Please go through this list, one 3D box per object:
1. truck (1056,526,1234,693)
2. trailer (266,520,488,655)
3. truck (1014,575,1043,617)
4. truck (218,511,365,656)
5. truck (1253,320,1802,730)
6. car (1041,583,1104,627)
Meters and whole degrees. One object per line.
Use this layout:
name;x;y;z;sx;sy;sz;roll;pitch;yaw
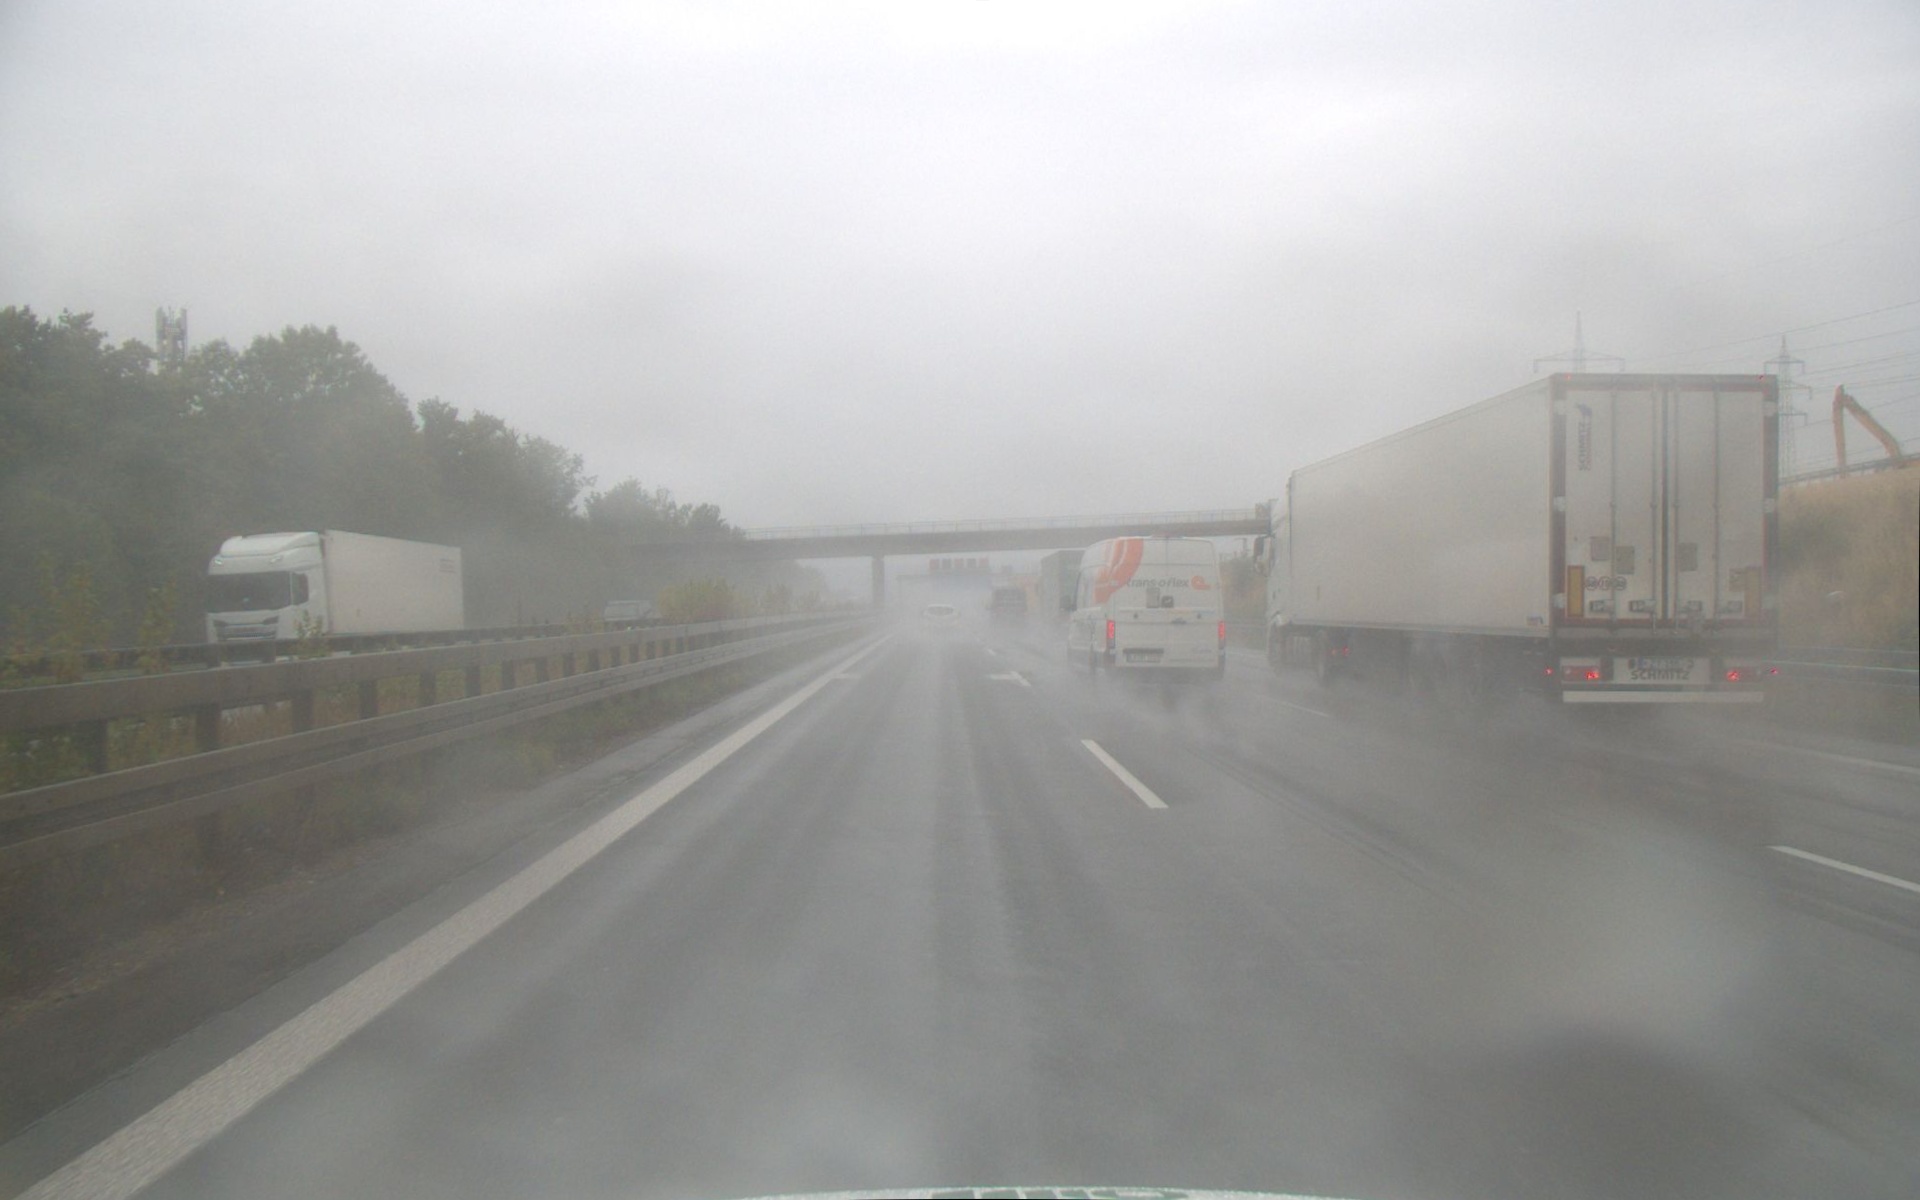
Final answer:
truck;3.002;0.093;28.112;2.370;2.536;5.560;1;1;0
trailer;-18.949;-0.316;55.250;1.960;3.838;15.525;1;0;0
truck;5.989;-0.371;145.322;2.066;3.577;5.246;1;1;-2
truck;-18.888;-0.412;47.015;2.001;3.871;5.223;1;-1;-1
truck;7.963;-0.881;27.129;2.978;4.668;16.346;1;0;-2
car;5.595;0.218;82.905;2.731;2.048;4.992;1;1;-1
